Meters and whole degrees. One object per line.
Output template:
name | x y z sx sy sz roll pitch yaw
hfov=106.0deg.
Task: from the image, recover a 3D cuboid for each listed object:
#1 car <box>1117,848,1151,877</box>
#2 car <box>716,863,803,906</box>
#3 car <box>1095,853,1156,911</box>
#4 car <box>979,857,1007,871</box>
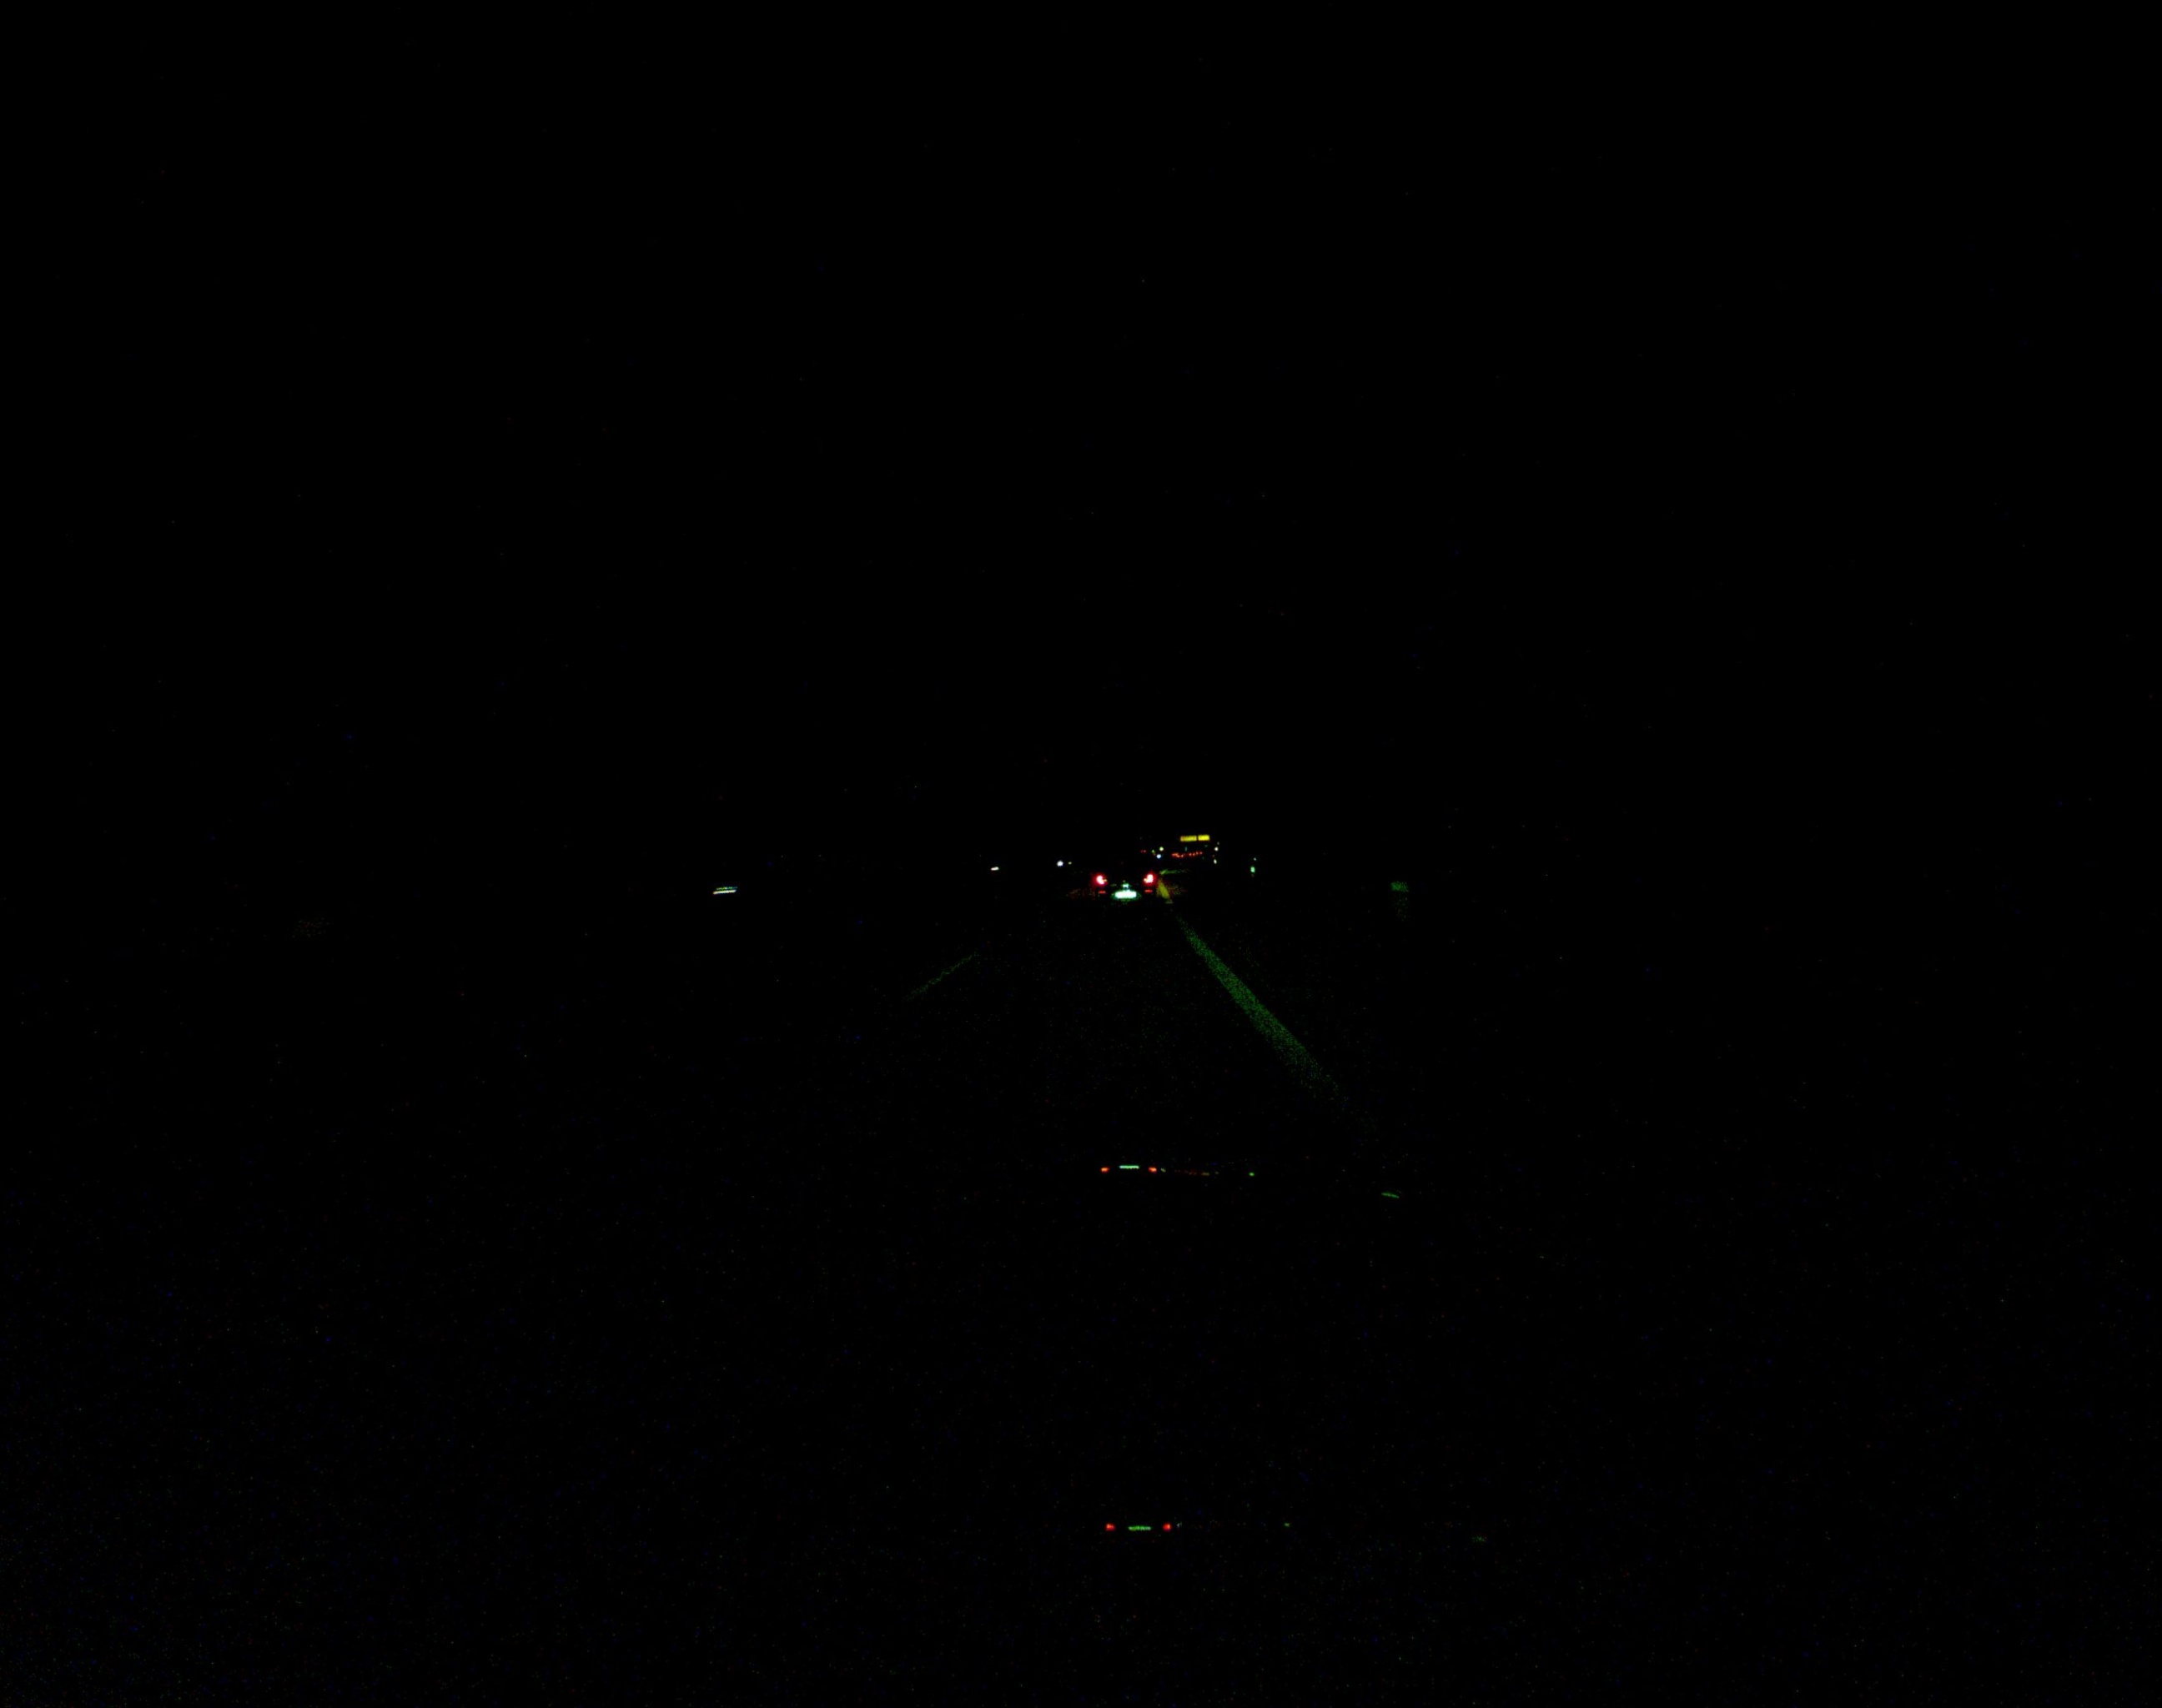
car | 3.462 0.532 52.695 1.896 1.698 4.009 -2 0 7
car | -14.139 1.288 36.102 1.987 1.657 4.534 -2 0 0
car | 1.244 0.721 23.161 1.582 1.508 4.002 -1 0 2
car | -10.101 1.152 93.423 1.809 1.442 4.489 -4 0 11
